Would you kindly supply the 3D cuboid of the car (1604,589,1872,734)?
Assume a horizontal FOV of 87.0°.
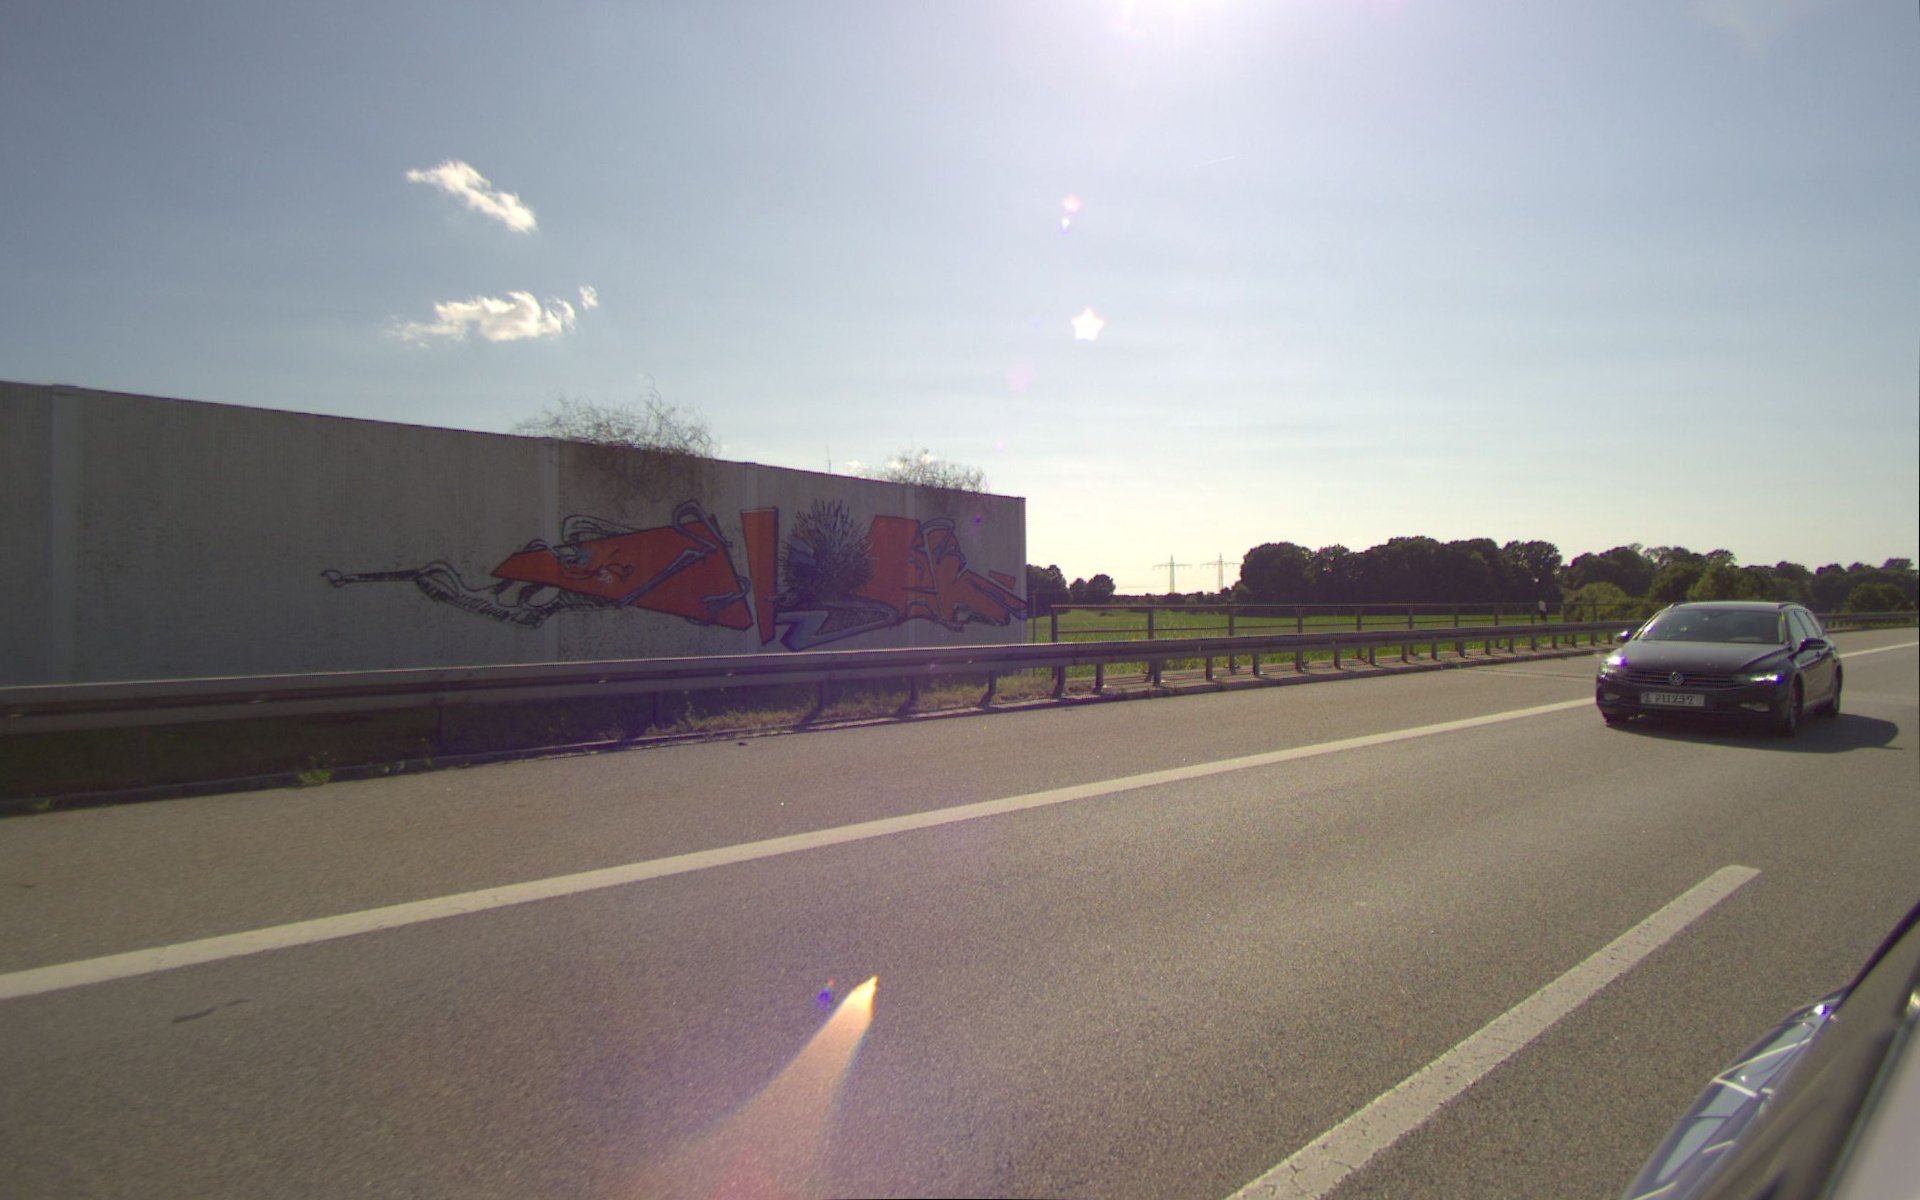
[{"bbox_3d":[9.590,0.608,12.348,4.336,1.417,1.722,-1,1,-40],"label":"car"}]
